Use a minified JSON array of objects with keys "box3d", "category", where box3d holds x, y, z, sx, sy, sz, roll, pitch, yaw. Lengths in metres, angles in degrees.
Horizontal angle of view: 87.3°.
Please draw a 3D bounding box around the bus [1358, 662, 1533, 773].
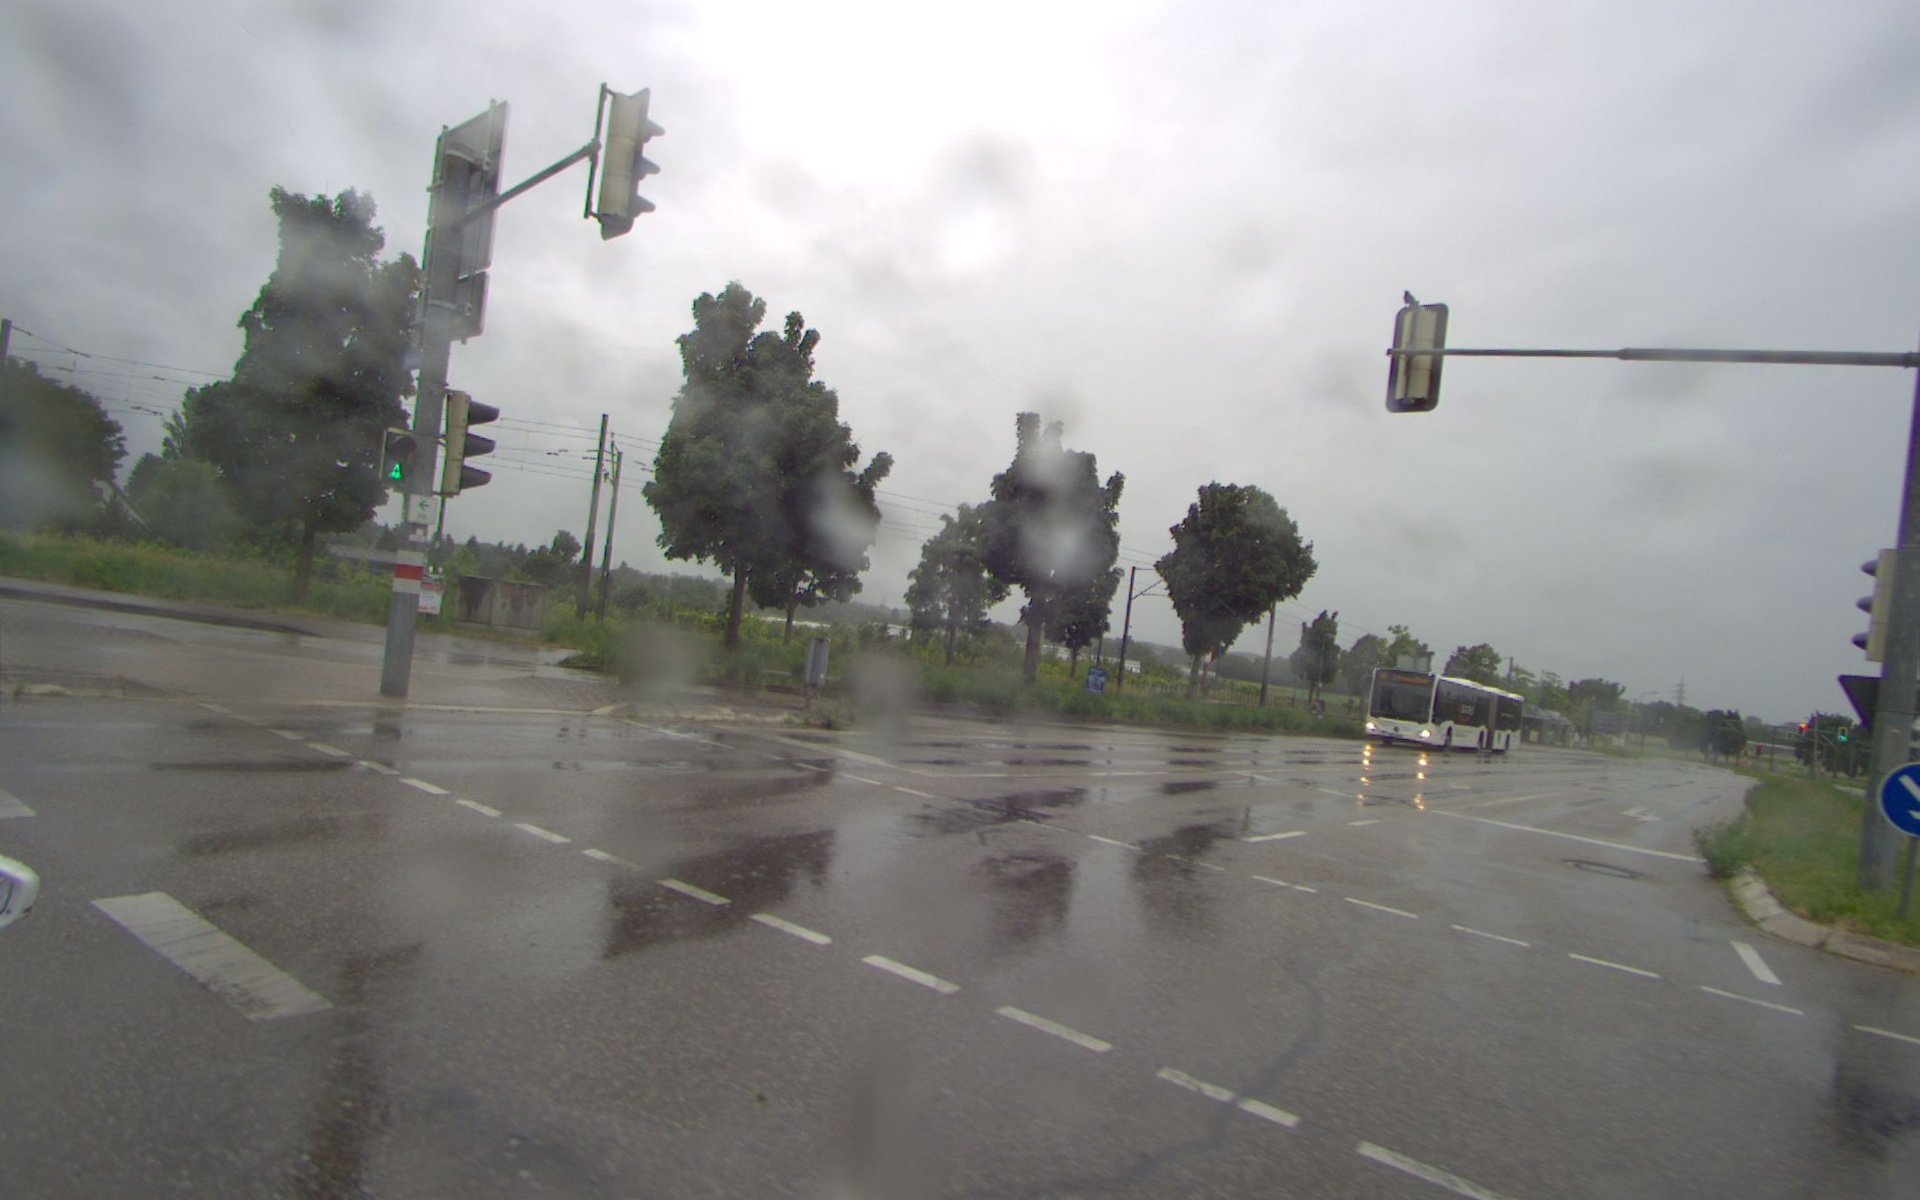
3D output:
[{"box3d":[22.465,5.430,45.460,2.716,3.827,18.377,7,-2,39],"category":"bus"}]
